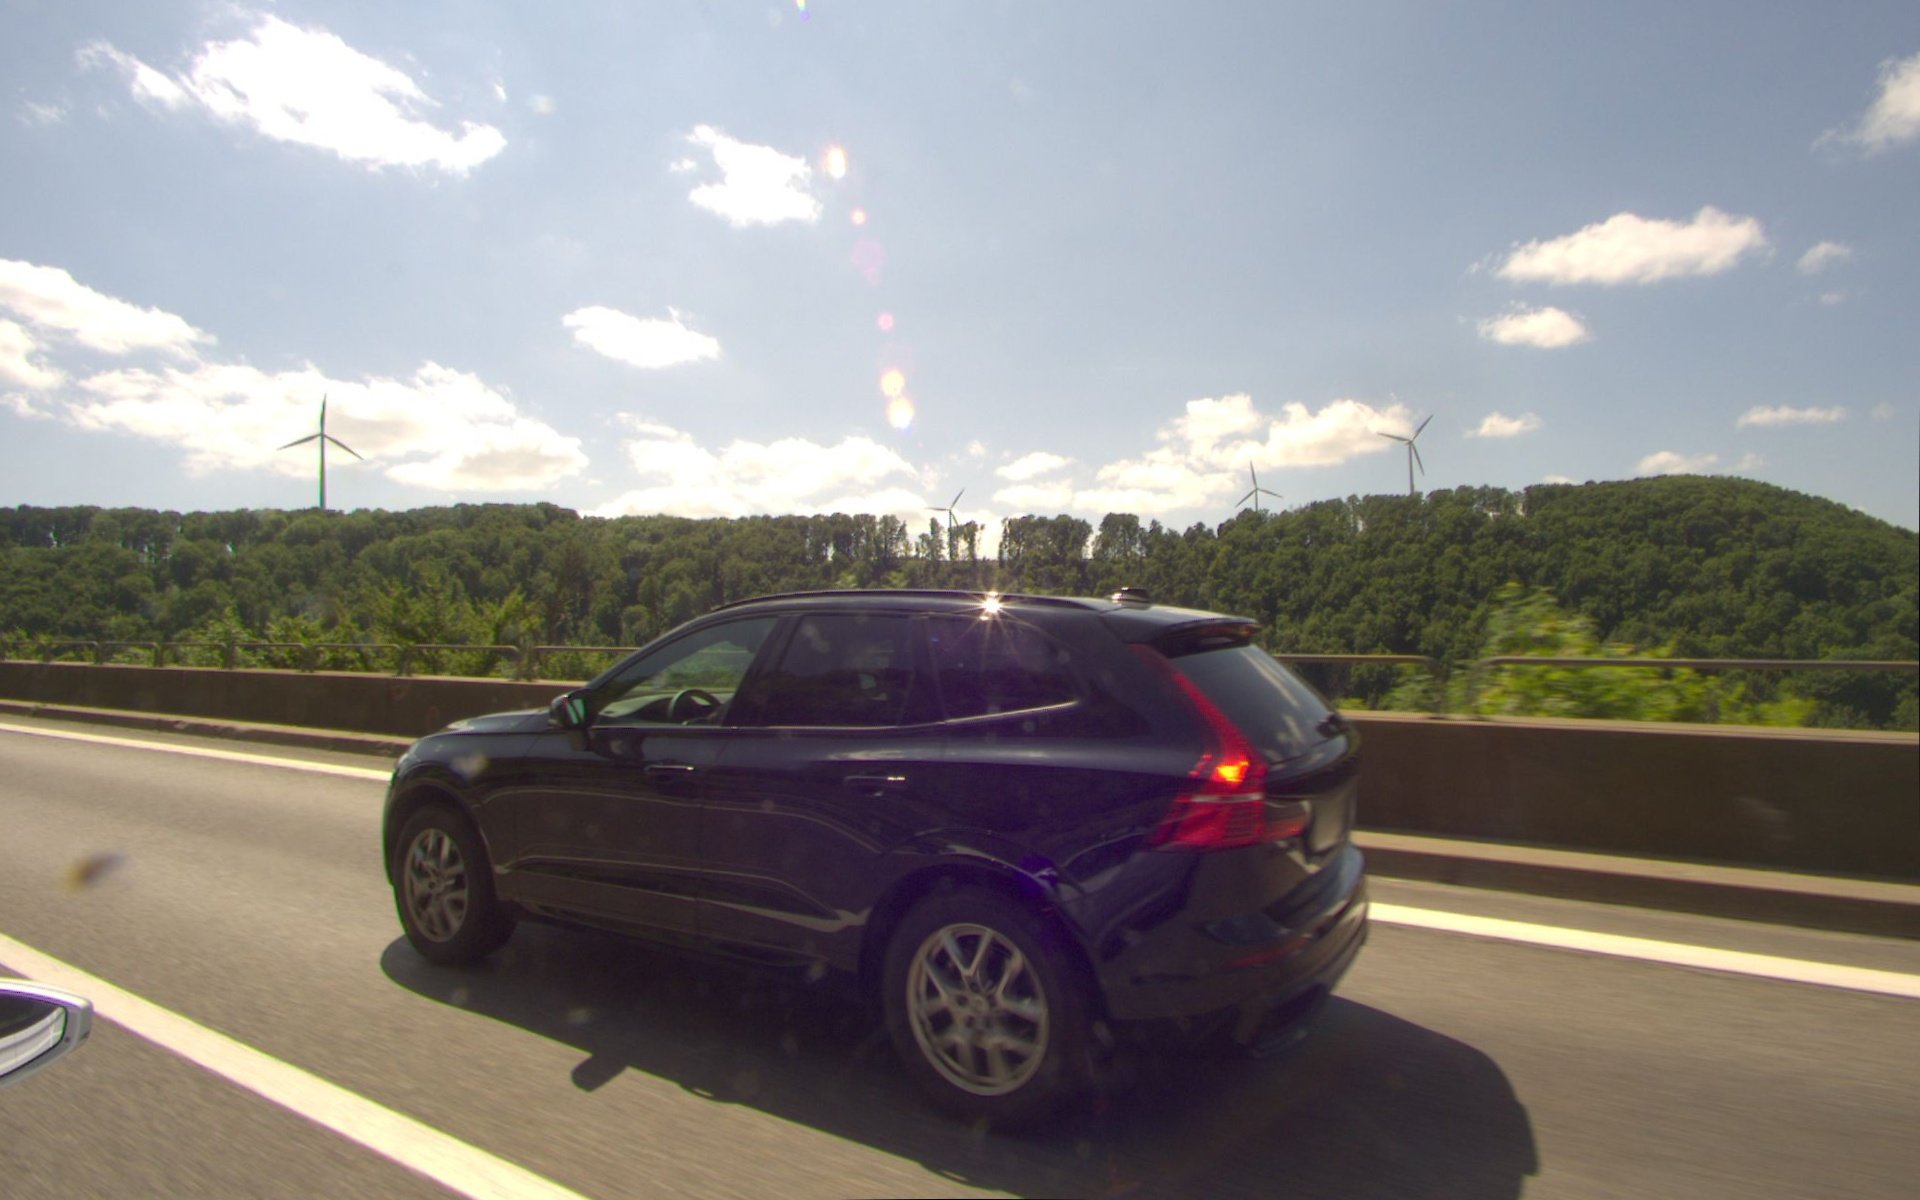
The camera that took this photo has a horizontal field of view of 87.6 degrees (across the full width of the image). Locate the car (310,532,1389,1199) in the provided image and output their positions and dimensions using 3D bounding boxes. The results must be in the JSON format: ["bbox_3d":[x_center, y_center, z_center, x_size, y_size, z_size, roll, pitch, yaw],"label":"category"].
[{"bbox_3d":[-0.713,0.773,4.445,4.595,1.653,1.833,-2,-4,32],"label":"car"}]

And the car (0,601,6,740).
[{"bbox_3d":[-14.862,0.959,13.504,4.609,1.807,1.830,-2,-1,32],"label":"car"}]
